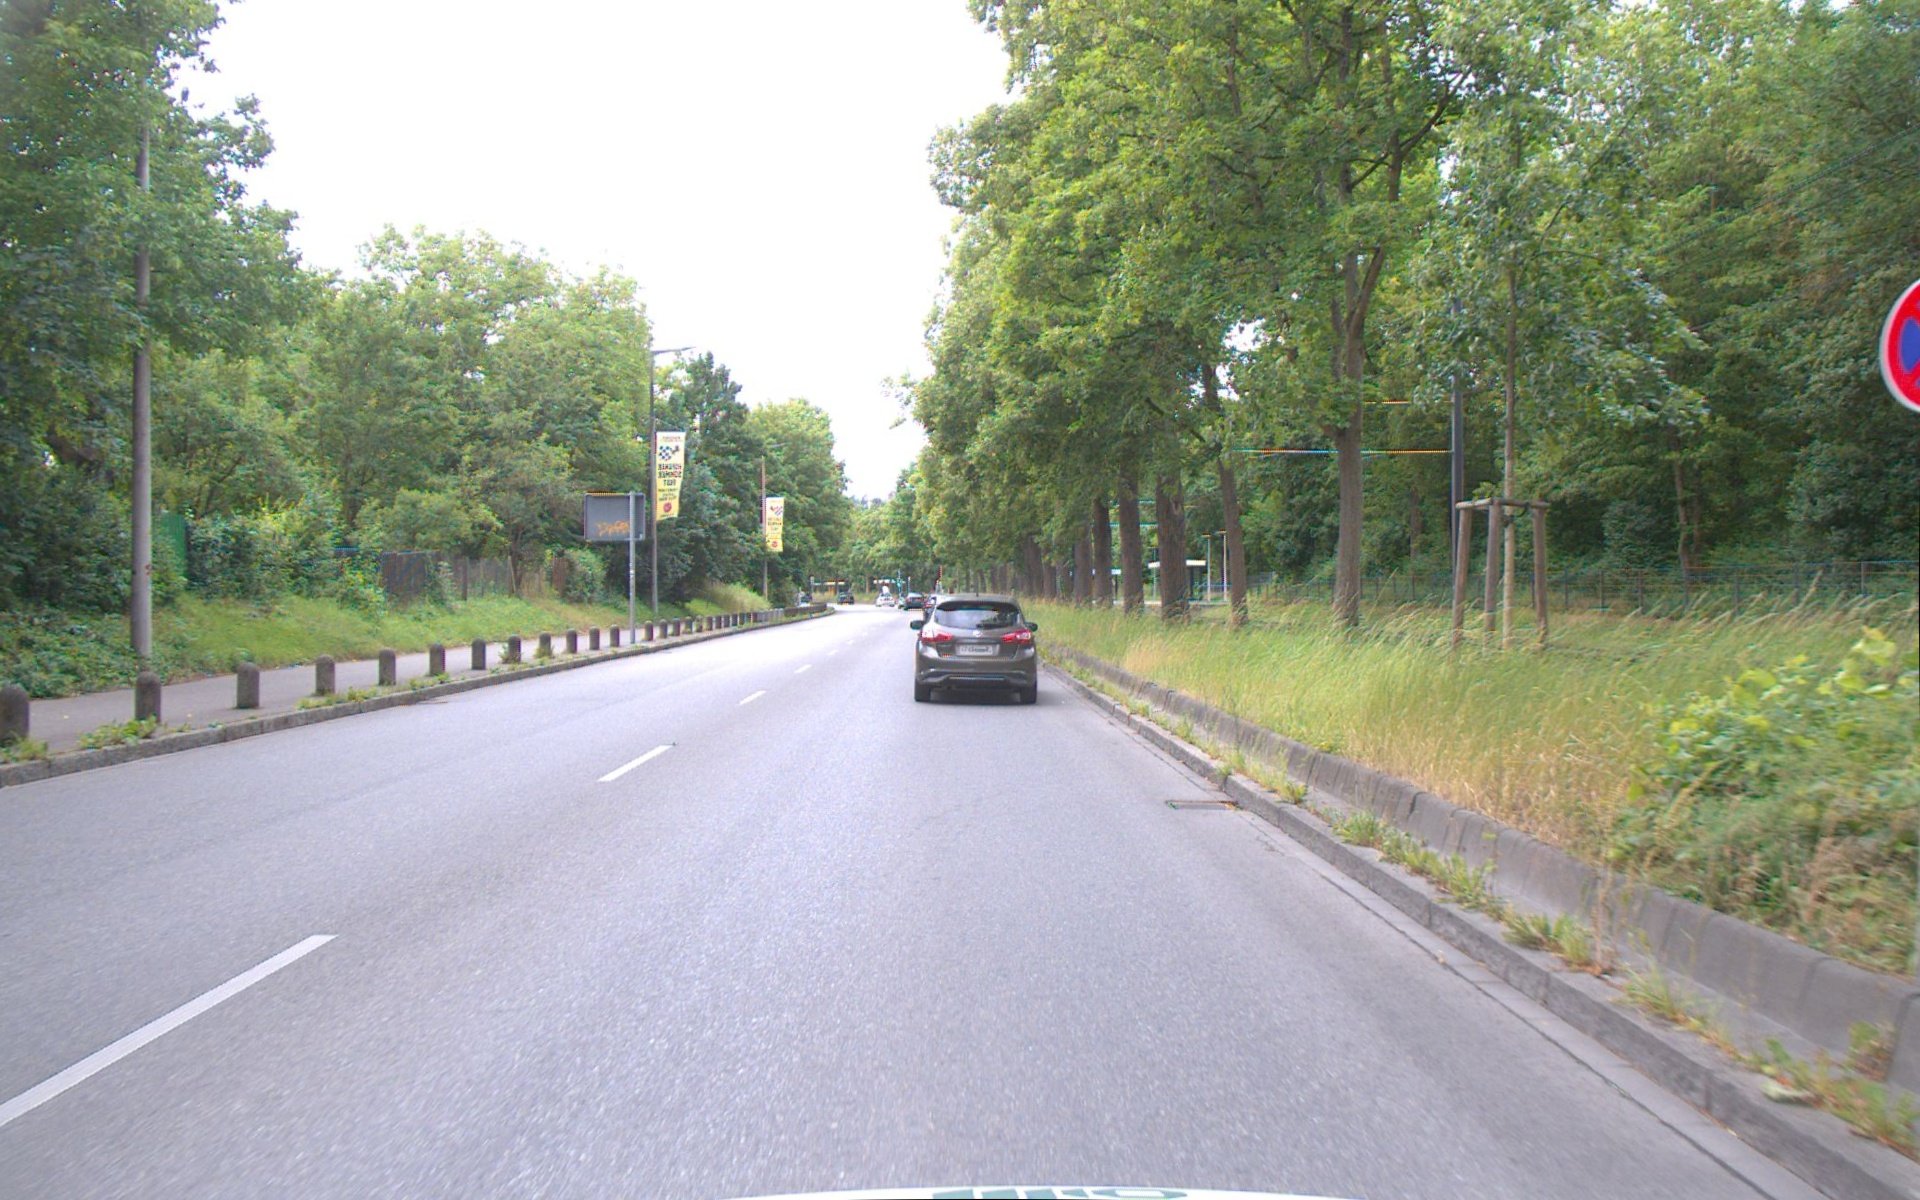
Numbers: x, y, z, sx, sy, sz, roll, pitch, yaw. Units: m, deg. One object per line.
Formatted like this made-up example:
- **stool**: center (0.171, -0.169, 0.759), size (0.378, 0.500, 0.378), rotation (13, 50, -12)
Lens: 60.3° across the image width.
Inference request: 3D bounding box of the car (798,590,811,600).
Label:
- **car**: center (-22.889, -0.745, 243.440), size (1.535, 1.466, 3.539), rotation (1, 0, -13)

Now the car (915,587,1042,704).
- **car**: center (0.207, 0.613, 24.394), size (1.695, 1.564, 3.550), rotation (1, 0, -2)

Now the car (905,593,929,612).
- **car**: center (-3.575, 0.205, 137.243), size (1.532, 1.466, 3.545), rotation (1, 0, -8)

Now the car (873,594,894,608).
- **car**: center (-8.131, 0.094, 175.269), size (1.536, 1.466, 3.537), rotation (1, 0, -15)

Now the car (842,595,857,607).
- **car**: center (-14.099, 0.062, 210.493), size (1.533, 1.466, 3.542), rotation (1, 0, -11)

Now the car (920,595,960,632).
- **car**: center (-0.927, 0.583, 73.635), size (1.695, 1.564, 3.550), rotation (1, 0, -2)

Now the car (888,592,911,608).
- **car**: center (-5.596, -0.030, 153.342), size (1.534, 1.466, 3.541), rotation (1, 0, -12)
